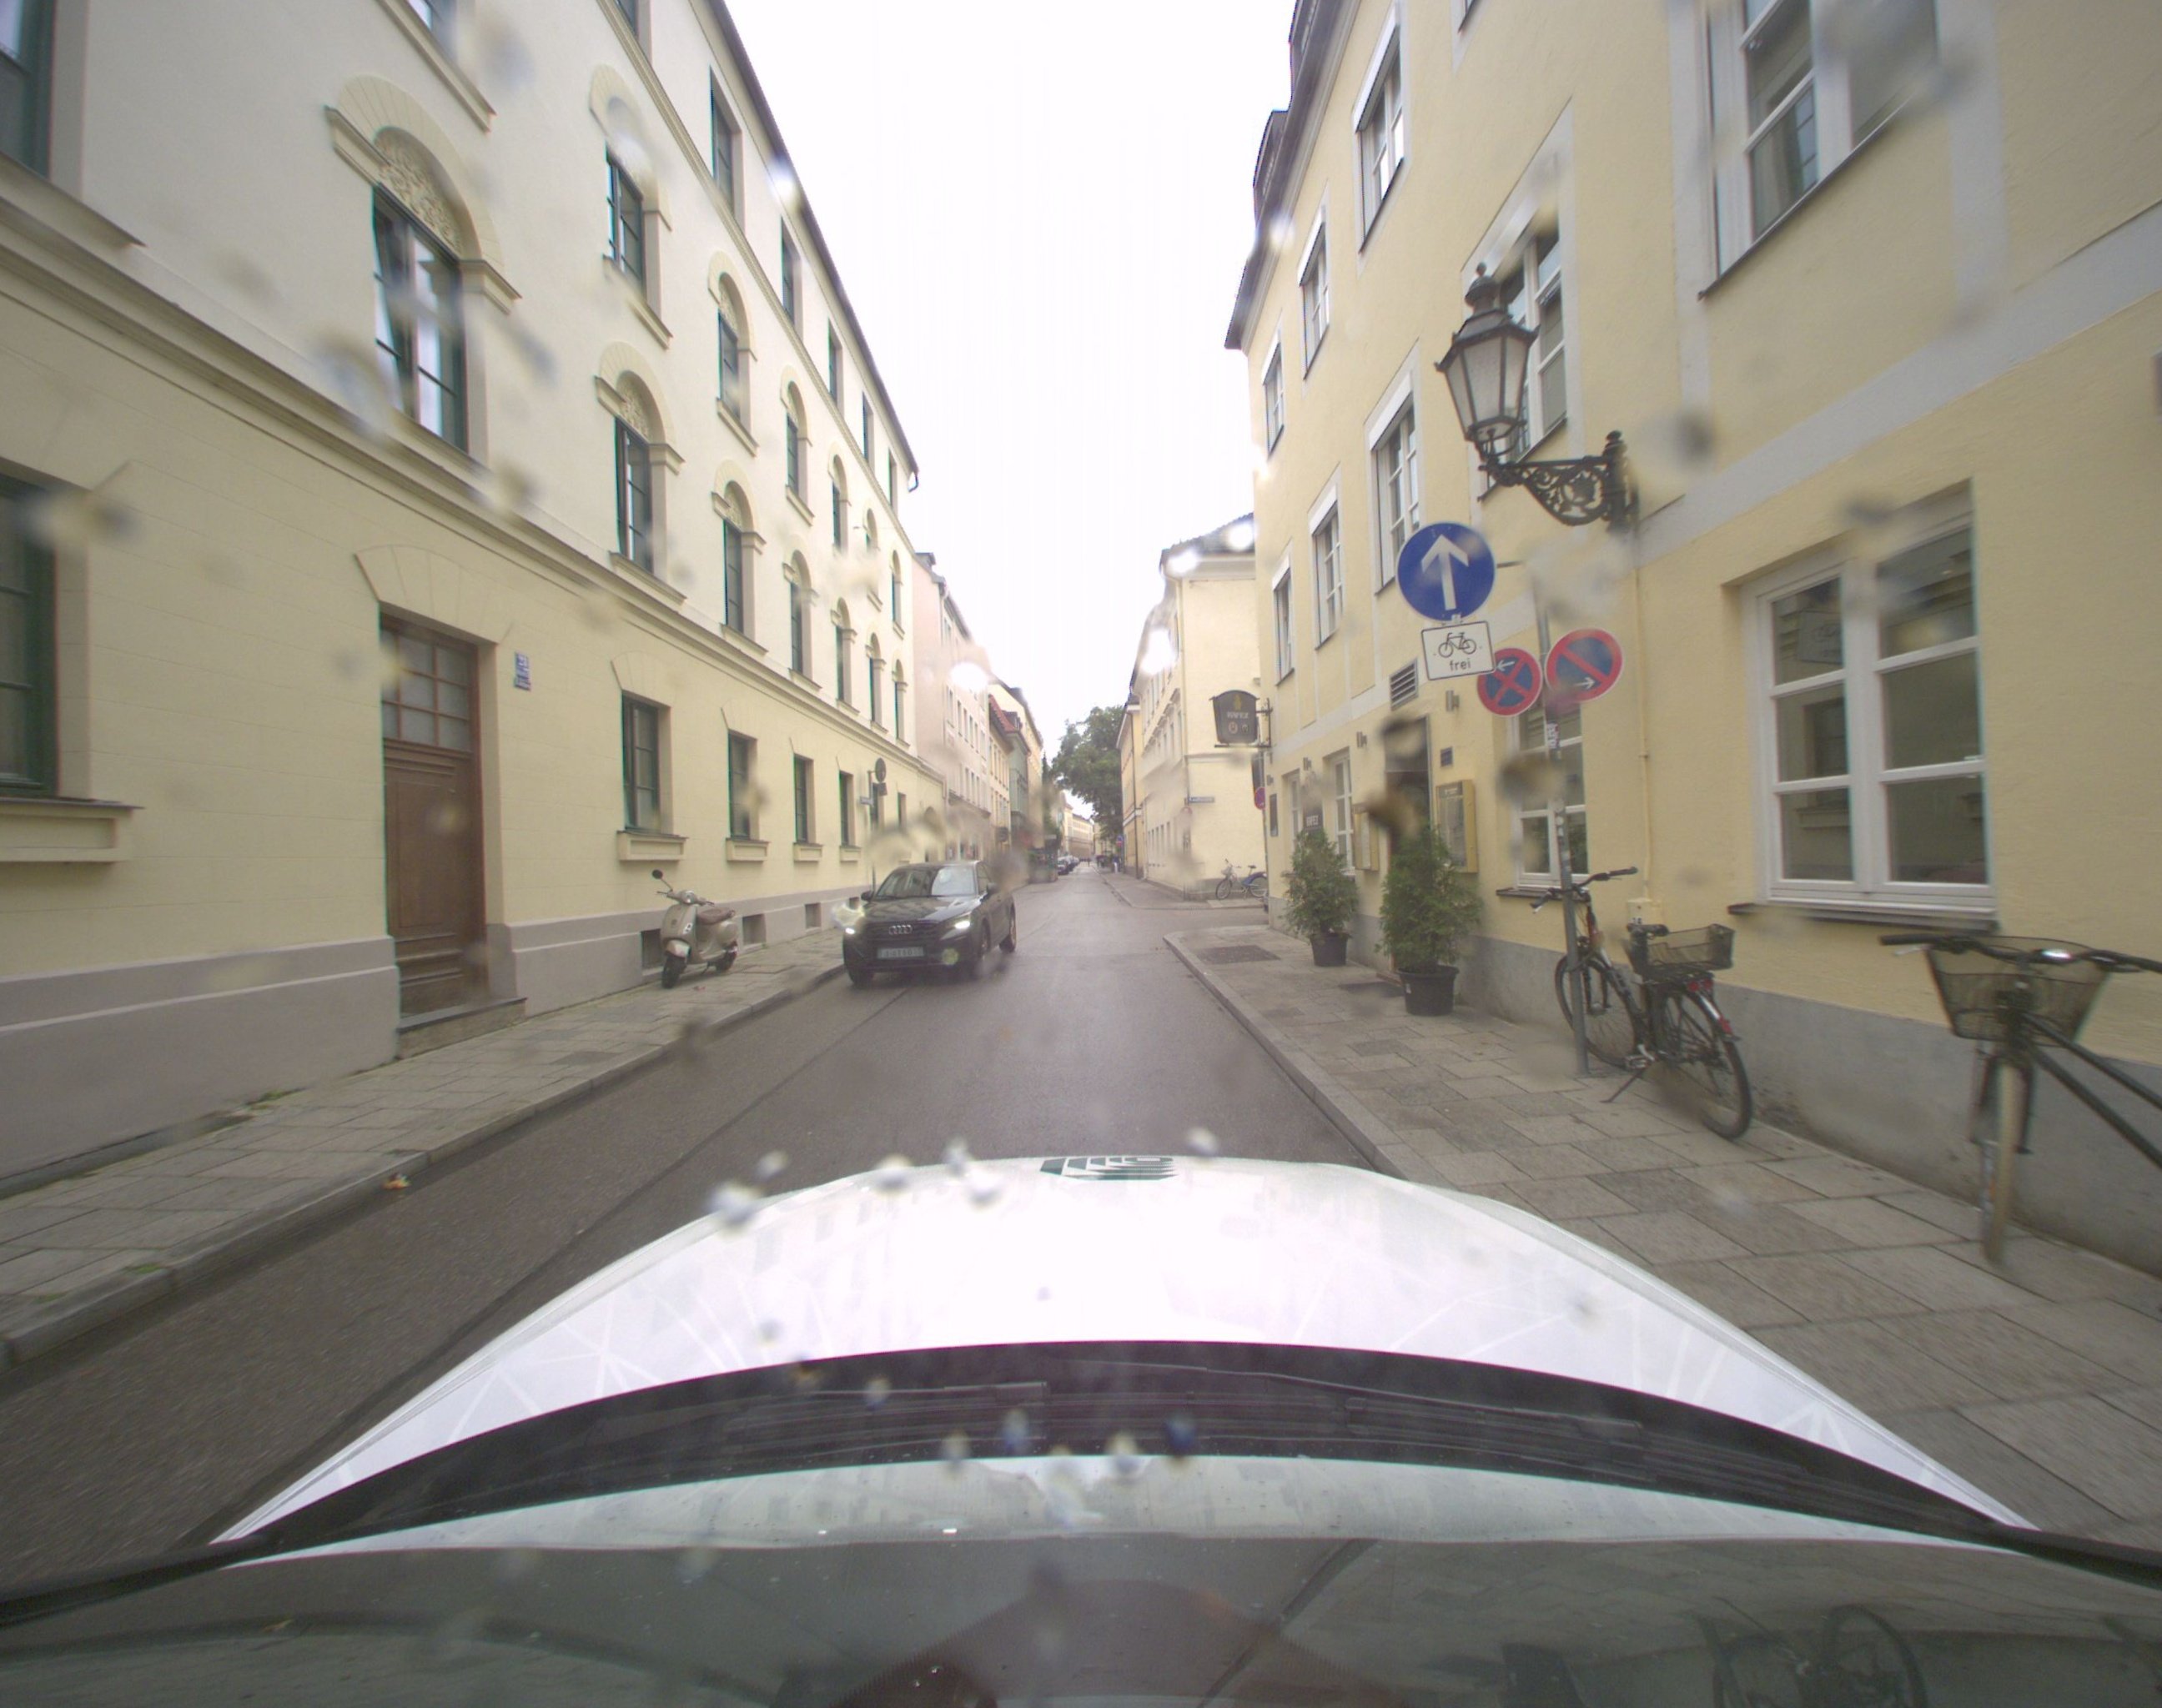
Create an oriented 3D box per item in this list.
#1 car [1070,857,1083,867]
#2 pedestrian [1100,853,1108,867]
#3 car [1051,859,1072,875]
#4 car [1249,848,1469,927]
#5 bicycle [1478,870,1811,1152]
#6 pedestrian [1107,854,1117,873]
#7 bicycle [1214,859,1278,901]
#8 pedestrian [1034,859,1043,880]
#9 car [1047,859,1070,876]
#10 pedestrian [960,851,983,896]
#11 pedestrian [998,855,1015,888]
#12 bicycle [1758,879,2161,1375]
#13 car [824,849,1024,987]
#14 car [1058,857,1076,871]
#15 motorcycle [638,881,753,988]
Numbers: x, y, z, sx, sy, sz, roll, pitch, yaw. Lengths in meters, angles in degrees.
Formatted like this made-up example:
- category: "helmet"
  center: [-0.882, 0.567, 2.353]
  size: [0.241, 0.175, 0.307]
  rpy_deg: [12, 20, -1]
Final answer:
- category: "car"
  center: [-0.716, 1.241, 123.249]
  size: [1.772, 1.466, 3.545]
  rpy_deg: [-1, 0, 3]
- category: "pedestrian"
  center: [3.037, 0.757, 106.375]
  size: [1.012, 1.802, 1.349]
  rpy_deg: [-1, 0, 1]
- category: "car"
  center: [-1.879, 1.199, 78.562]
  size: [1.772, 1.466, 3.545]
  rpy_deg: [-1, 0, 3]
- category: "car"
  center: [5.647, 0.662, 16.912]
  size: [4.000, 1.440, 1.766]
  rpy_deg: [-1, 2, 2]
- category: "bicycle"
  center: [2.820, 0.690, 4.327]
  size: [0.563, 1.137, 1.684]
  rpy_deg: [-4, 0, 1]
- category: "pedestrian"
  center: [3.007, 0.937, 78.771]
  size: [0.877, 1.802, 1.046]
  rpy_deg: [-1, 0, 1]
- category: "bicycle"
  center: [4.867, 0.764, 24.048]
  size: [1.751, 1.144, 0.586]
  rpy_deg: [-2, 2, 0]
- category: "pedestrian"
  center: [-2.734, 0.998, 52.374]
  size: [0.508, 1.326, 0.630]
  rpy_deg: [-1, 0, -2]
- category: "car"
  center: [-1.997, 1.167, 73.718]
  size: [1.772, 1.466, 3.665]
  rpy_deg: [-1, 0, 3]
- category: "pedestrian"
  center: [-4.393, 0.766, 32.688]
  size: [0.807, 1.755, 0.989]
  rpy_deg: [-1, 1, -2]
- category: "pedestrian"
  center: [-3.874, 0.897, 42.241]
  size: [0.764, 1.708, 0.785]
  rpy_deg: [-2, 0, -2]
- category: "bicycle"
  center: [2.879, 0.682, 2.109]
  size: [0.563, 1.137, 1.988]
  rpy_deg: [-4, 0, 1]
- category: "car"
  center: [-2.019, 0.763, 11.691]
  size: [1.804, 1.594, 4.004]
  rpy_deg: [-2, 0, 4]
- category: "car"
  center: [-1.543, 1.146, 93.520]
  size: [1.772, 1.466, 3.545]
  rpy_deg: [-1, 0, 3]
- category: "motorcycle"
  center: [-4.817, 0.960, 10.299]
  size: [0.600, 1.174, 1.709]
  rpy_deg: [-1, 0, 1]
